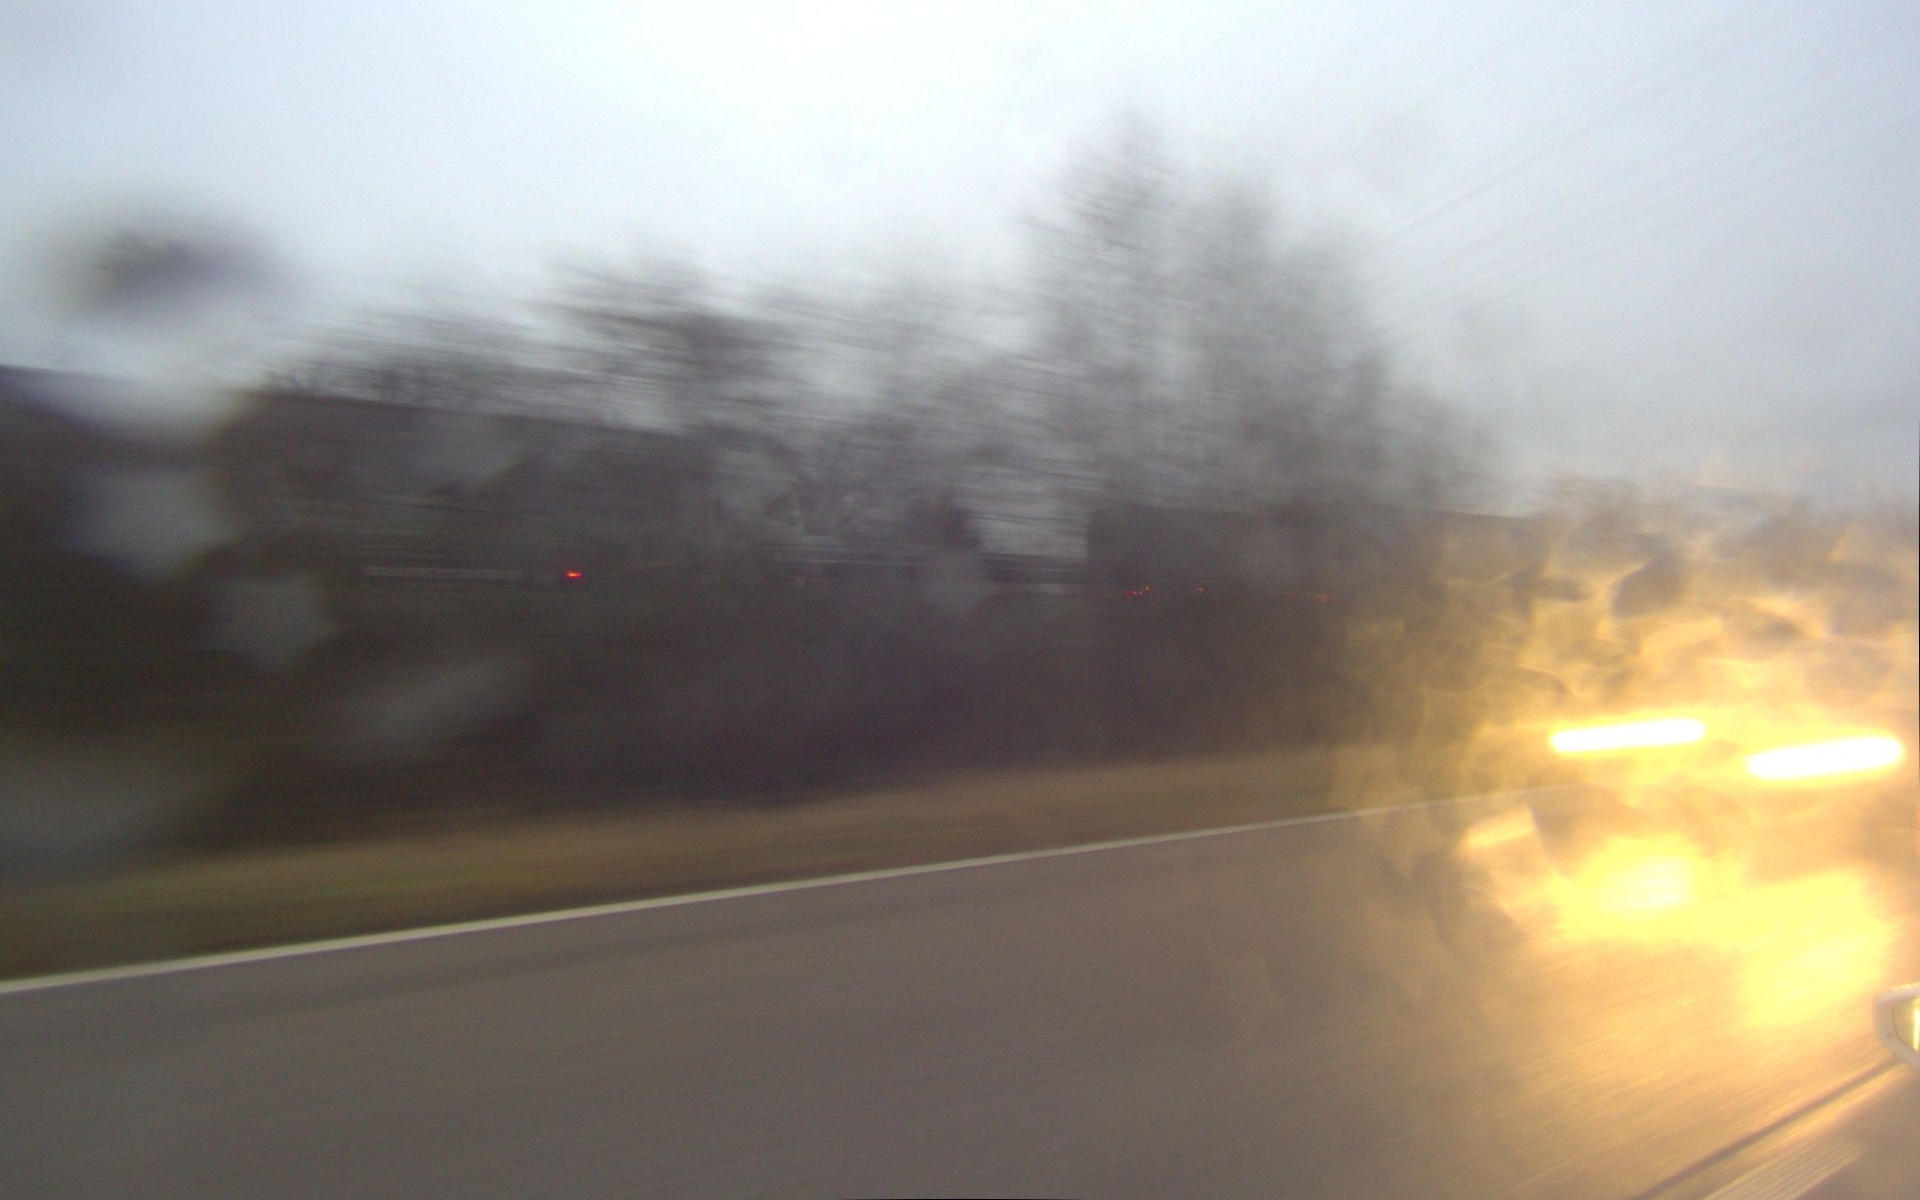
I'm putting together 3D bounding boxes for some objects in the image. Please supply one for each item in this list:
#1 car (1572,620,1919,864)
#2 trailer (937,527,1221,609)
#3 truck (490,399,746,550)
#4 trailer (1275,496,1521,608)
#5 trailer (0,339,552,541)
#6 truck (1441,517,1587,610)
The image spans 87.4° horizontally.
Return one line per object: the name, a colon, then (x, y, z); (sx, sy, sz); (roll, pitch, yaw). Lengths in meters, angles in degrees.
car: (6.872, 0.984, 7.909); (3.954, 1.428, 1.819); (3, -1, -30)
trailer: (4.709, -1.036, 37.614); (11.366, 2.456, 2.497); (2, -2, -30)
truck: (-8.294, -2.875, 24.495); (5.518, 2.925, 2.438); (2, -1, -30)
trailer: (17.691, -1.699, 40.137); (11.255, 3.682, 2.984); (2, -1, -31)
trailer: (-14.487, -3.069, 20.777); (10.956, 2.929, 2.424); (2, -1, -31)
truck: (24.333, -1.479, 44.088); (5.997, 3.680, 2.978); (2, -1, -31)
